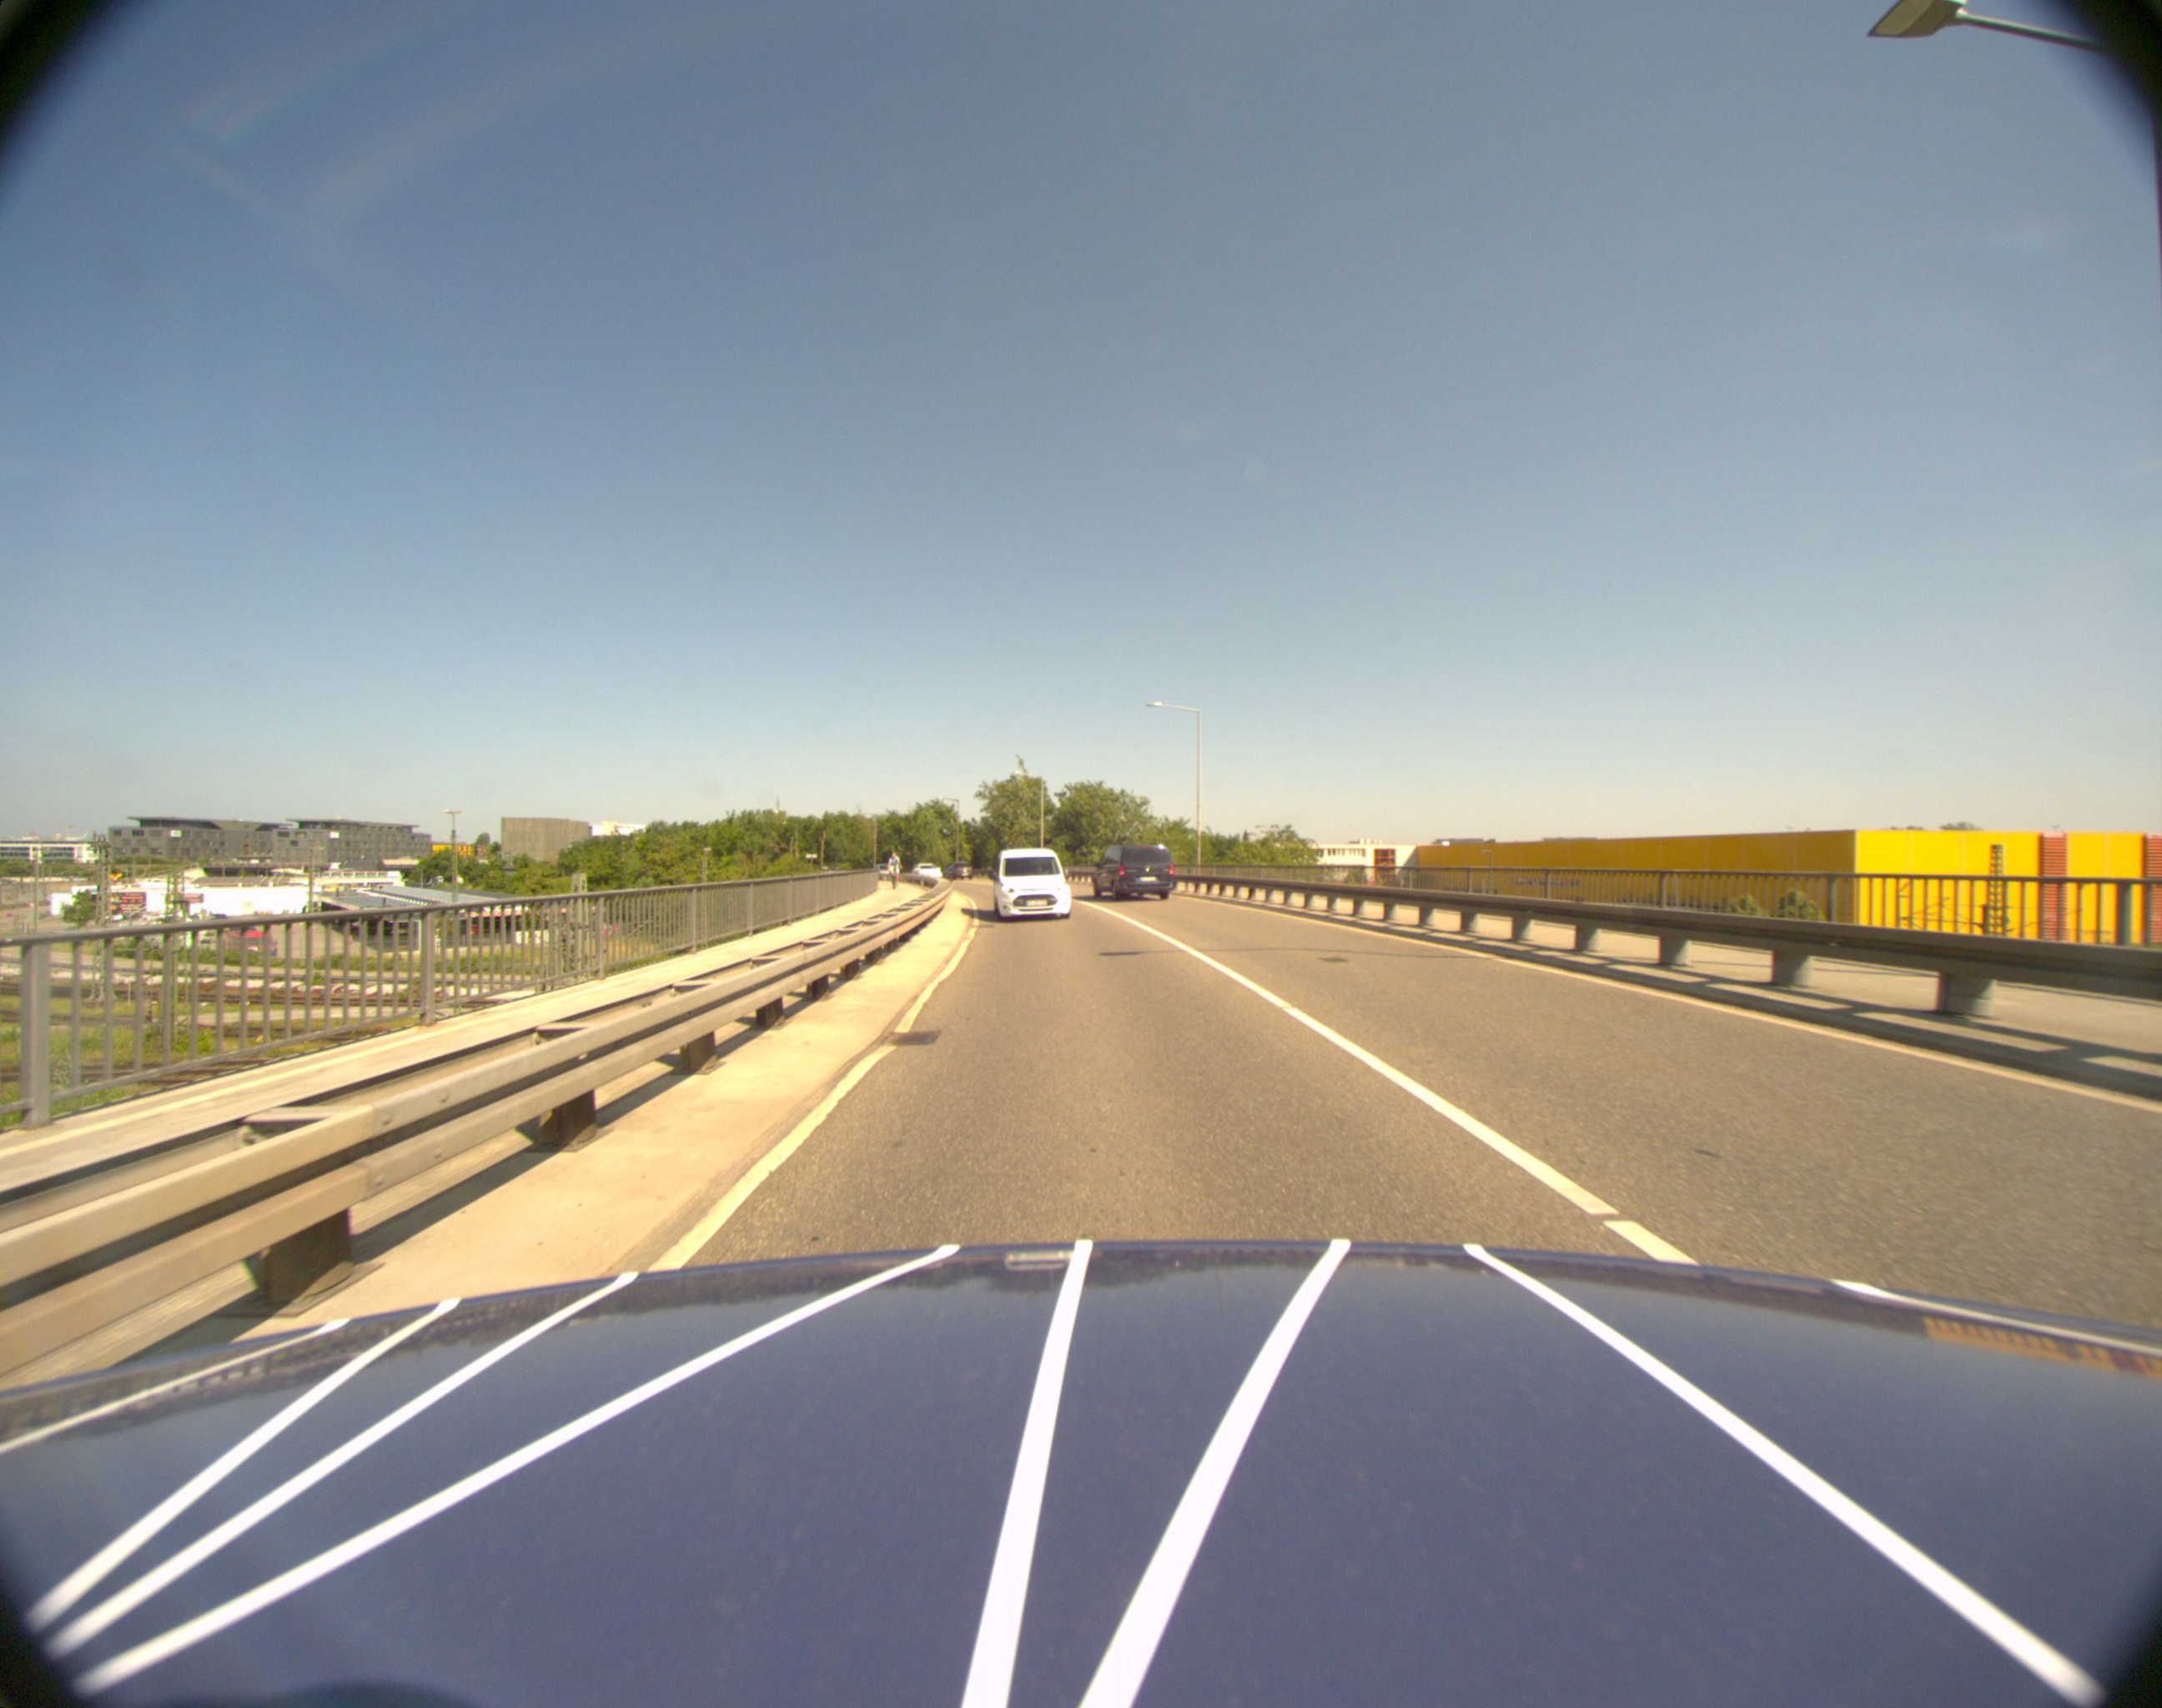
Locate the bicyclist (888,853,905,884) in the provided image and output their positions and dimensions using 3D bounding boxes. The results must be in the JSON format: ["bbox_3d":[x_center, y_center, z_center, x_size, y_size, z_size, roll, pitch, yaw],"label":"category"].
[{"bbox_3d":[-9.225,0.717,37.982,0.661,1.510,0.802,2,-1,-20],"label":"bicyclist"}]

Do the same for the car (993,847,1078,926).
[{"bbox_3d":[-1.331,0.770,20.180,1.898,1.785,4.444,-2,0,-7],"label":"car"}]

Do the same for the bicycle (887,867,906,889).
[{"bbox_3d":[-9.224,1.191,37.918,0.705,1.013,1.843,2,-2,-20],"label":"bicycle"}]

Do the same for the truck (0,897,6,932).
[{"bbox_3d":[-134.901,7.360,92.539,13.234,4.004,3.831,-1,-2,32],"label":"truck"}]

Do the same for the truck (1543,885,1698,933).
[{"bbox_3d":[72.879,7.381,102.953,17.541,5.644,5.786,-1,1,-4],"label":"truck"}]

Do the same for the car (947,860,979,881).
[{"bbox_3d":[-10.055,1.374,64.525,1.681,1.717,3.699,-2,1,-24],"label":"car"}]

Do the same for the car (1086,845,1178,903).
[{"bbox_3d":[1.669,0.637,27.564,2.082,1.877,5.910,0,0,-9],"label":"car"}]

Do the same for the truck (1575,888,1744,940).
[{"bbox_3d":[73.343,7.565,96.622,17.541,5.644,5.974,-1,1,-4],"label":"truck"}]

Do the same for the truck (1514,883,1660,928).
[{"bbox_3d":[72.545,7.302,109.220,17.541,5.644,5.974,-1,1,-4],"label":"truck"}]

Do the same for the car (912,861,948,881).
[{"bbox_3d":[-12.224,1.362,61.278,1.849,1.479,4.144,-2,0,-24],"label":"car"}]

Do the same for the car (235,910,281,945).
[{"bbox_3d":[-80.014,7.082,73.861,5.362,2.650,2.311,1,6,38],"label":"car"}]
